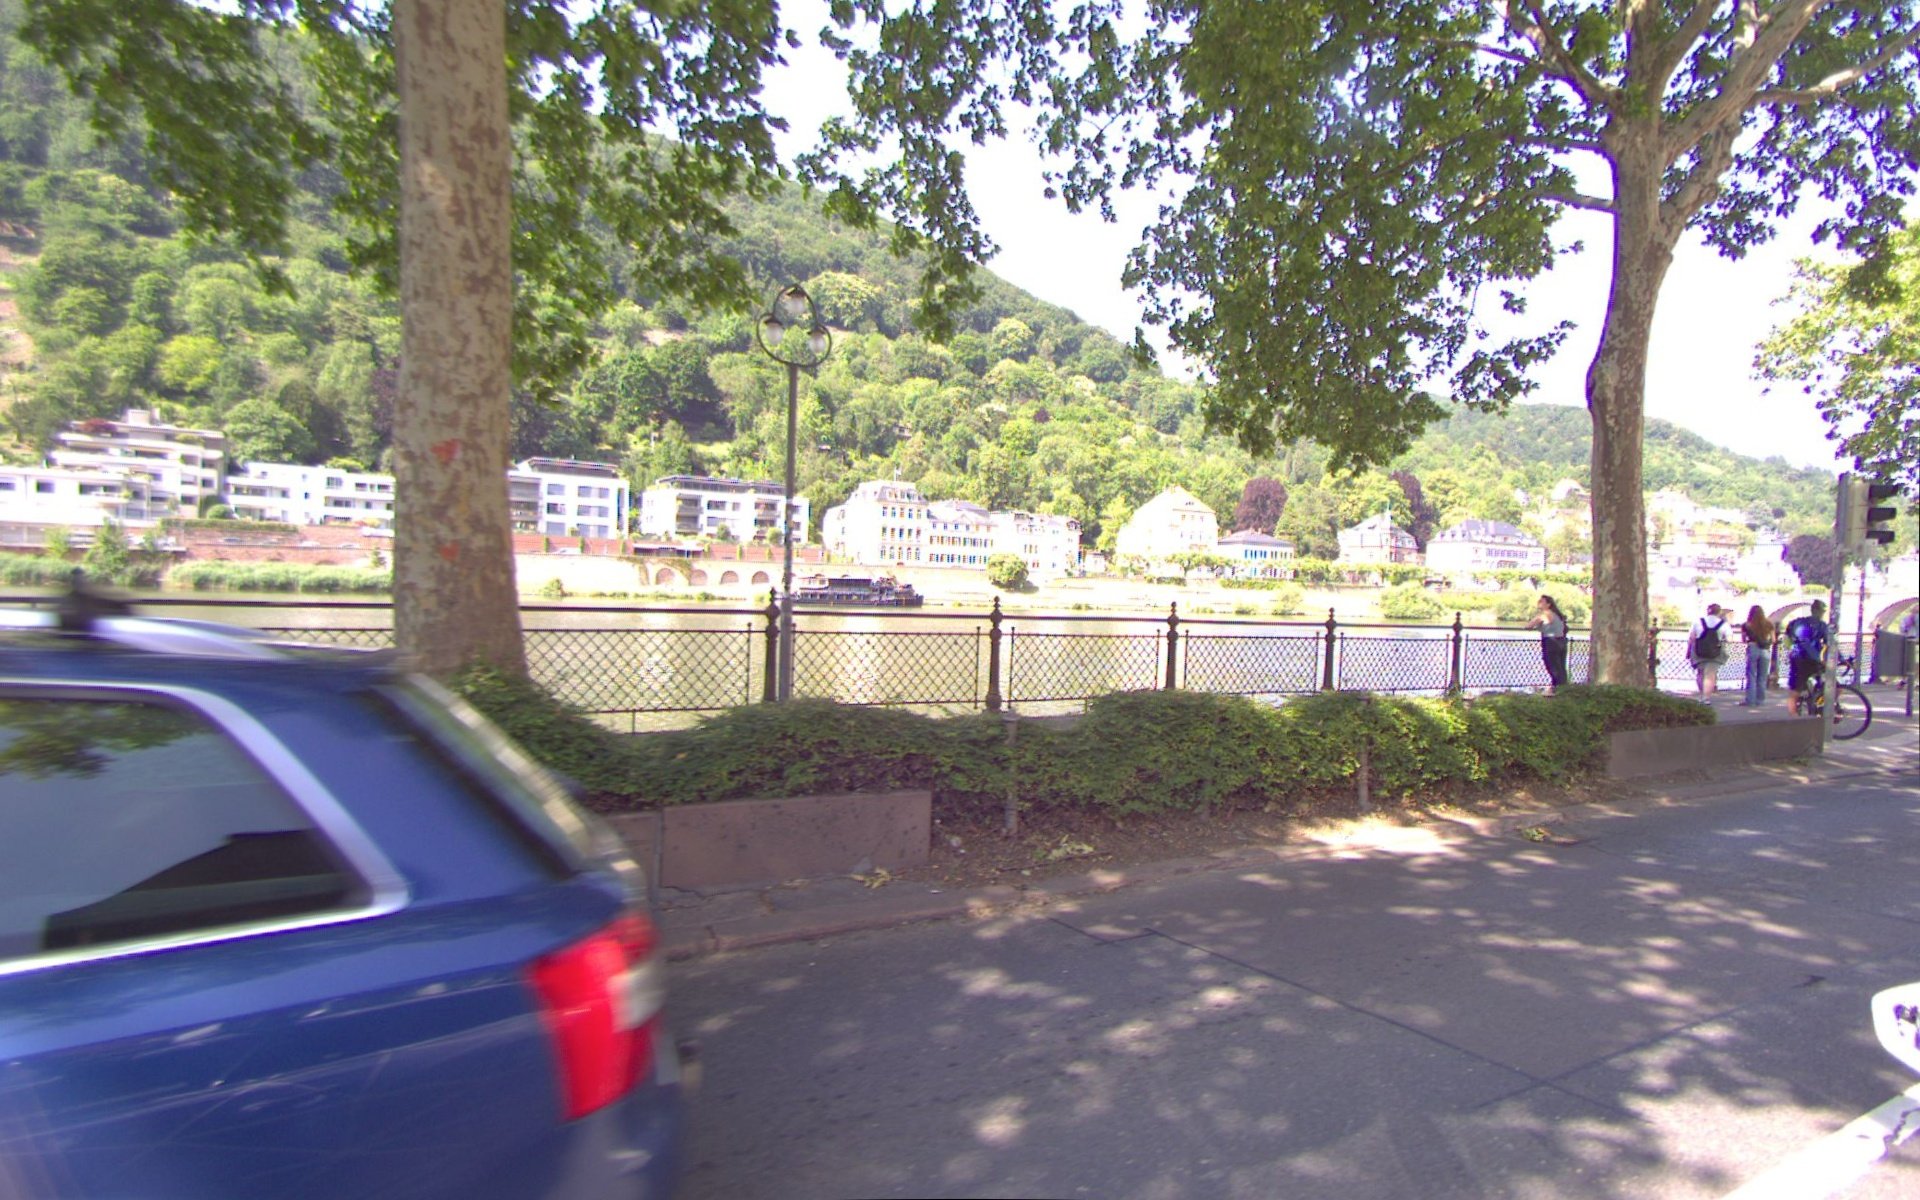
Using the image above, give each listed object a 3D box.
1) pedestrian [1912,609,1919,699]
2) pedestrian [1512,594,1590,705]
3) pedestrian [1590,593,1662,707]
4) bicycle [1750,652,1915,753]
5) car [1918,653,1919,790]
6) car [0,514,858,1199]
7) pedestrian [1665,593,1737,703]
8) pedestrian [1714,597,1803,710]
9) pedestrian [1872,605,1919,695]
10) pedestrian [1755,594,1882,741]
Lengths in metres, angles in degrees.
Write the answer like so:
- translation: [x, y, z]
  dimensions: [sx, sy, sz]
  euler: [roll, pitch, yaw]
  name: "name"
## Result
- translation: [18.074, 1.003, 18.478]
  dimensions: [0.980, 1.639, 0.491]
  euler: [2, 1, -31]
  name: "pedestrian"
- translation: [9.107, 0.756, 15.483]
  dimensions: [0.900, 1.630, 0.546]
  euler: [2, 4, -31]
  name: "pedestrian"
- translation: [10.463, 0.770, 15.783]
  dimensions: [0.688, 1.723, 0.615]
  euler: [2, 2, -30]
  name: "pedestrian"
- translation: [11.340, 1.300, 13.148]
  dimensions: [0.727, 0.938, 1.830]
  euler: [4, 6, 11]
  name: "bicycle"
- translation: [11.281, 1.196, 9.759]
  dimensions: [4.213, 1.286, 1.832]
  euler: [2, -2, -31]
  name: "car"
- translation: [-2.460, 0.658, 1.151]
  dimensions: [4.351, 1.538, 1.694]
  euler: [2, -2, -29]
  name: "car"
- translation: [12.087, 0.766, 16.388]
  dimensions: [0.784, 1.736, 0.649]
  euler: [1, 0, -30]
  name: "pedestrian"
- translation: [12.839, 0.844, 16.156]
  dimensions: [0.773, 1.736, 0.831]
  euler: [2, 1, -30]
  name: "pedestrian"
- translation: [19.559, 1.026, 20.777]
  dimensions: [0.961, 1.787, 0.708]
  euler: [2, 1, -31]
  name: "pedestrian"
- translation: [11.328, 0.851, 13.307]
  dimensions: [0.753, 1.797, 1.025]
  euler: [3, 3, 11]
  name: "pedestrian"
